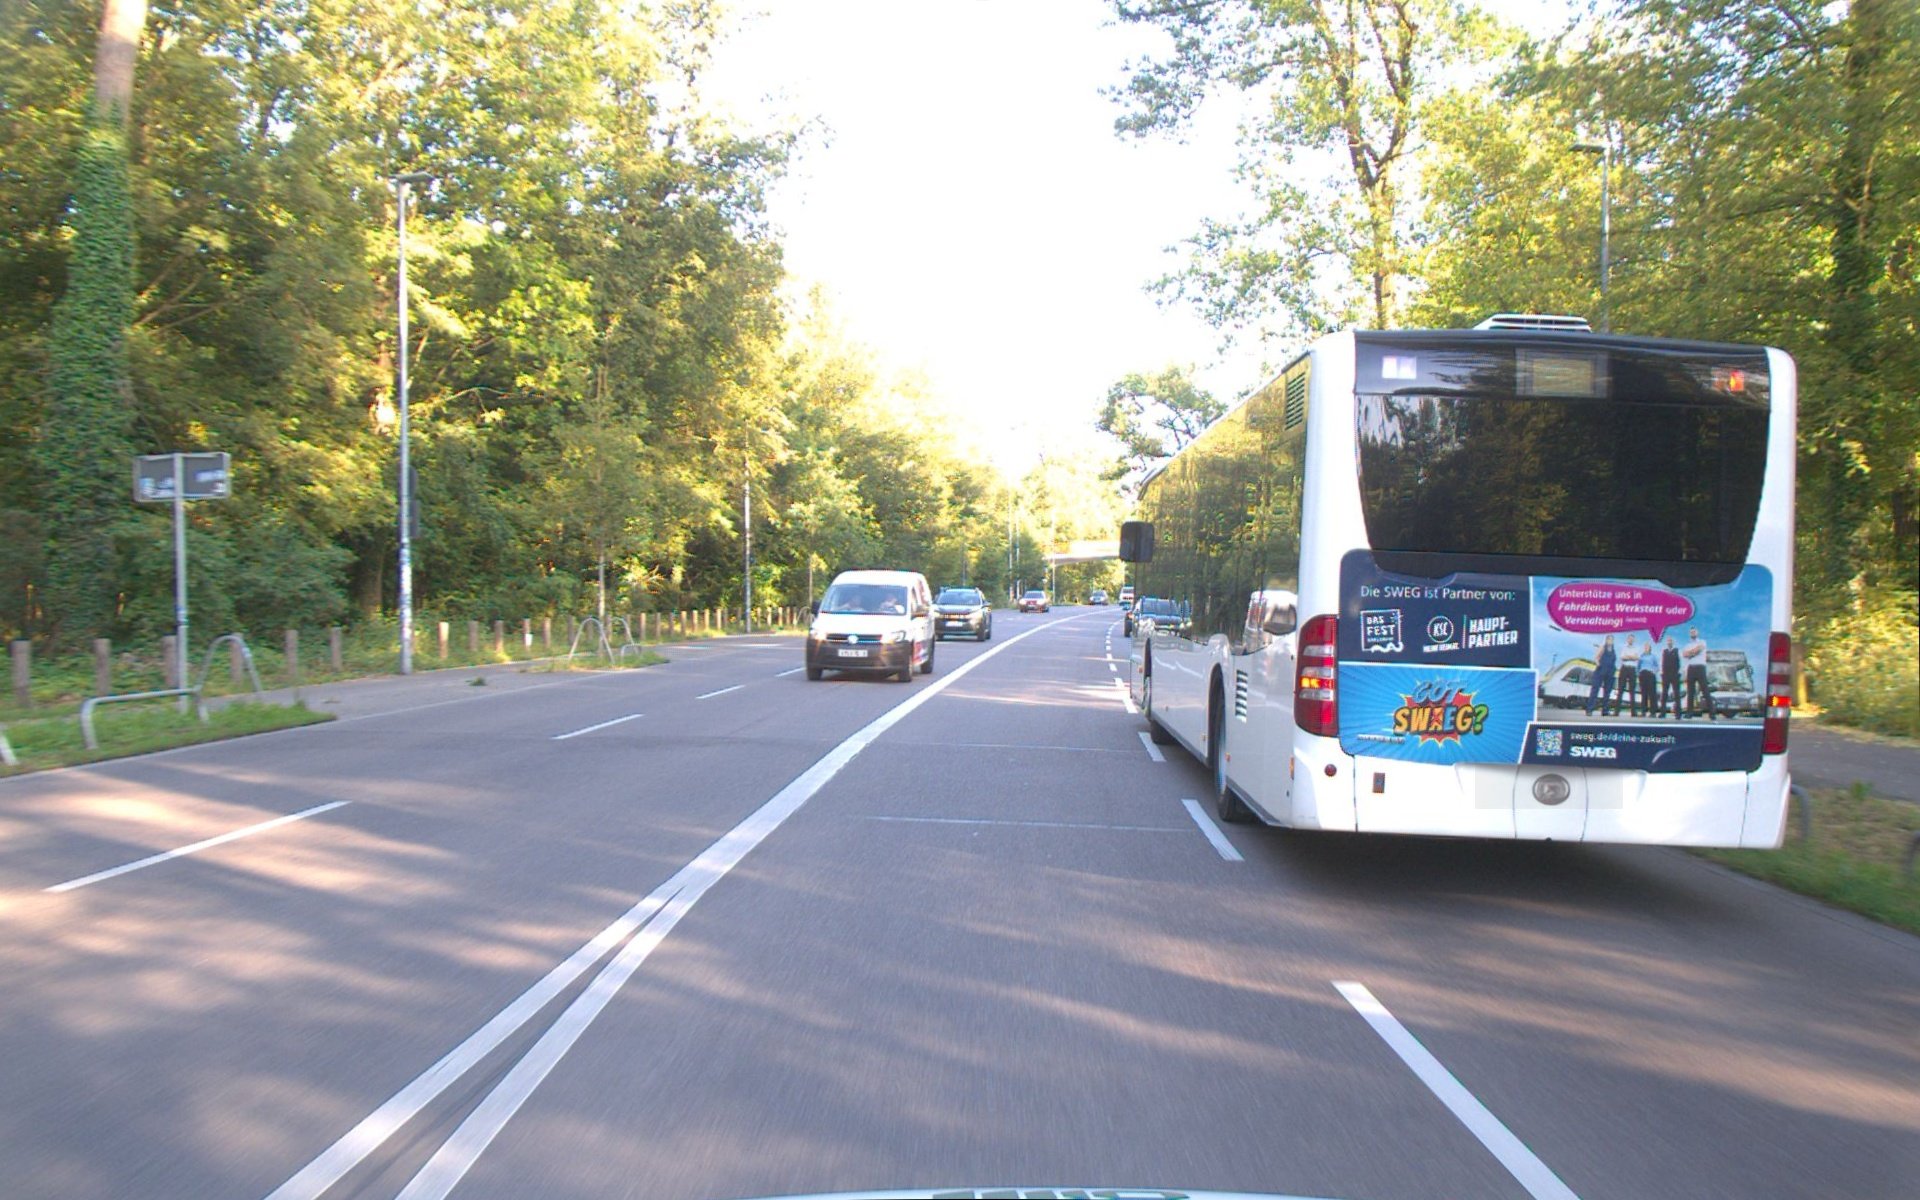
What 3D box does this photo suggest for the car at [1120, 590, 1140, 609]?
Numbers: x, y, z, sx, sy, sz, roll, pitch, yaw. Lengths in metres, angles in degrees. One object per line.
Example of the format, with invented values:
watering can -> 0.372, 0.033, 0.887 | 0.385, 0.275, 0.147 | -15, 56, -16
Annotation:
car -> 18.268, -0.050, 177.704 | 2.159, 1.995, 4.916 | 1, 0, 6

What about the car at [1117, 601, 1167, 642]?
car -> 6.700, 0.768, 61.071 | 1.691, 1.467, 4.092 | 1, 0, 5

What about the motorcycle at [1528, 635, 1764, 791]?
motorcycle -> 5.862, 0.948, 14.193 | 1.698, 1.275, 0.771 | 0, 0, 0

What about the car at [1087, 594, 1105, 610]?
car -> 14.407, 0.205, 175.131 | 1.762, 1.627, 4.003 | 1, 0, 6

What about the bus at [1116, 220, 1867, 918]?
bus -> 3.130, -0.133, 14.071 | 2.648, 3.278, 12.280 | 1, 0, 1

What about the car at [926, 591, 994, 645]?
car -> 0.032, 0.516, 50.597 | 1.767, 1.572, 4.092 | 0, 0, 4

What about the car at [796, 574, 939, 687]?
car -> -1.497, 0.475, 28.668 | 1.866, 1.787, 4.802 | 0, 0, 4

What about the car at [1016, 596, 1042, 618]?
car -> 4.942, 0.485, 117.963 | 1.785, 1.488, 4.926 | 1, 0, 2
